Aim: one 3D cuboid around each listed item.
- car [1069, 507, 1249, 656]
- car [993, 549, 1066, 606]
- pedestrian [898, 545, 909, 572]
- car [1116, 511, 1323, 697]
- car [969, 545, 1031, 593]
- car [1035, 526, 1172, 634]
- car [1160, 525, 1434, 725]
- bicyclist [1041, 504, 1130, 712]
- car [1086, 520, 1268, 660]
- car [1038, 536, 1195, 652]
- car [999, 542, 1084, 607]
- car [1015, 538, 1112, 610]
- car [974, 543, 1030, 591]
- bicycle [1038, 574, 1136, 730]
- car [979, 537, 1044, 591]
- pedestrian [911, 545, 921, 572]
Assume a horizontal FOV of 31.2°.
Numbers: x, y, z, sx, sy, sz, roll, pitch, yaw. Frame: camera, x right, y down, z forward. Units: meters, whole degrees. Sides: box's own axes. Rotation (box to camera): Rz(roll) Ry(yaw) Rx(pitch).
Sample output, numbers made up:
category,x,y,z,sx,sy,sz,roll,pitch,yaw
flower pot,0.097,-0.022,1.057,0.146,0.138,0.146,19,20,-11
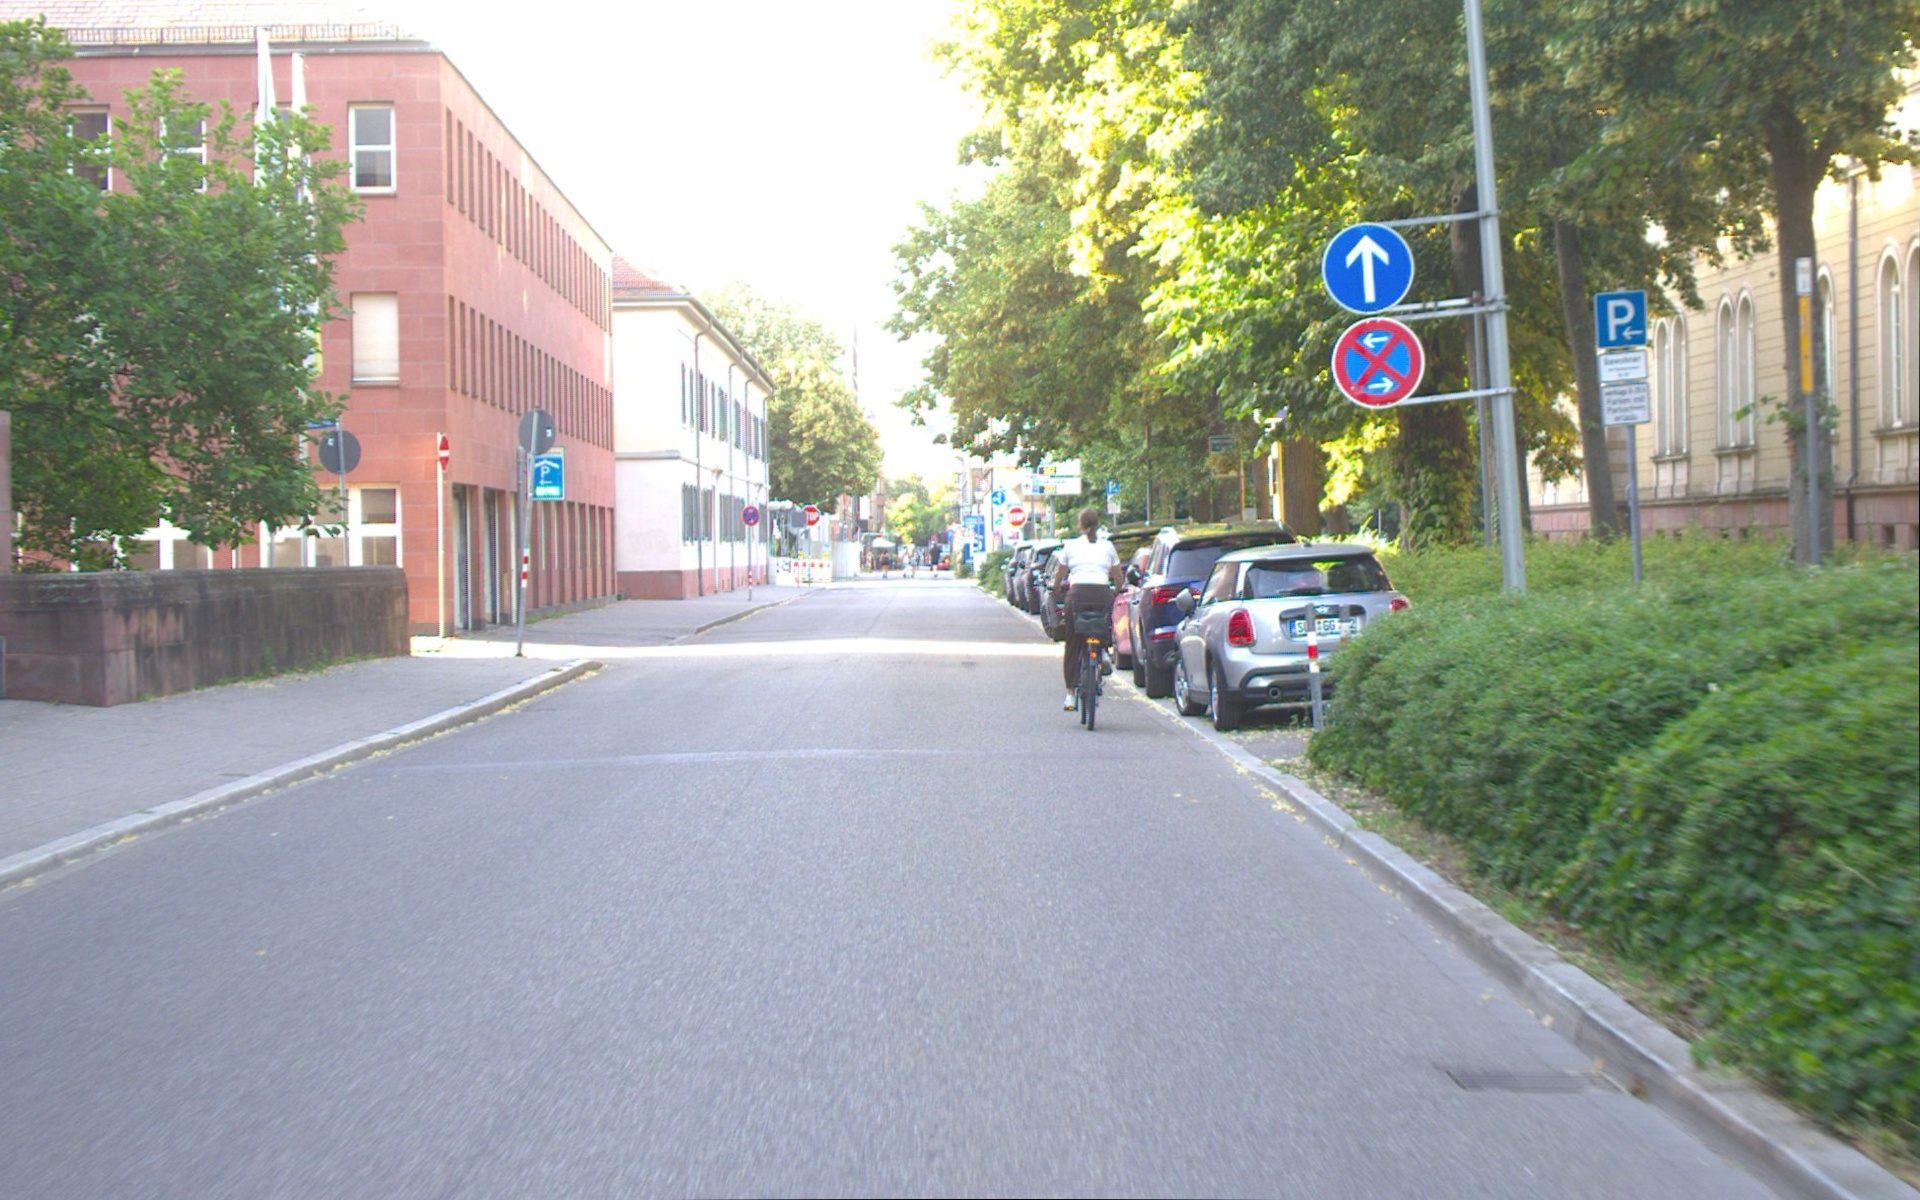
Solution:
category,x,y,z,sx,sy,sz,roll,pitch,yaw
car,2.556,-0.260,45.017,1.993,1.809,4.000,-2,1,-1
car,2.081,-0.699,104.520,1.993,1.623,4.000,-2,1,-1
pedestrian,-3.189,-2.345,193.933,0.534,1.467,0.449,-2,1,-2
car,2.534,-0.006,34.502,1.715,1.706,4.473,-1,1,0
car,1.576,-1.275,138.183,2.281,1.847,4.910,-2,1,-1
car,2.375,-0.350,57.830,1.993,1.700,4.000,-2,1,-1
car,2.705,0.193,28.324,1.685,1.442,3.672,-3,0,-2
bicyclist,1.016,0.056,27.985,0.639,1.661,0.843,1,1,-2
car,2.515,-0.149,40.649,1.715,1.532,4.049,-1,1,-2
car,2.261,-0.117,50.658,1.993,1.590,4.000,-2,1,-1
car,2.104,-0.686,90.060,1.993,1.623,4.000,-2,1,-1
car,2.378,-0.611,79.885,1.993,1.579,4.000,-2,1,-1
car,2.007,-1.608,166.190,2.493,2.188,4.910,-2,1,-1
bicycle,1.017,0.400,27.819,0.638,1.189,1.876,1,1,-2
car,1.713,-1.215,116.178,1.993,1.743,4.000,-2,1,-1
pedestrian,-2.494,-2.335,193.843,0.534,1.467,0.449,-2,1,-2
